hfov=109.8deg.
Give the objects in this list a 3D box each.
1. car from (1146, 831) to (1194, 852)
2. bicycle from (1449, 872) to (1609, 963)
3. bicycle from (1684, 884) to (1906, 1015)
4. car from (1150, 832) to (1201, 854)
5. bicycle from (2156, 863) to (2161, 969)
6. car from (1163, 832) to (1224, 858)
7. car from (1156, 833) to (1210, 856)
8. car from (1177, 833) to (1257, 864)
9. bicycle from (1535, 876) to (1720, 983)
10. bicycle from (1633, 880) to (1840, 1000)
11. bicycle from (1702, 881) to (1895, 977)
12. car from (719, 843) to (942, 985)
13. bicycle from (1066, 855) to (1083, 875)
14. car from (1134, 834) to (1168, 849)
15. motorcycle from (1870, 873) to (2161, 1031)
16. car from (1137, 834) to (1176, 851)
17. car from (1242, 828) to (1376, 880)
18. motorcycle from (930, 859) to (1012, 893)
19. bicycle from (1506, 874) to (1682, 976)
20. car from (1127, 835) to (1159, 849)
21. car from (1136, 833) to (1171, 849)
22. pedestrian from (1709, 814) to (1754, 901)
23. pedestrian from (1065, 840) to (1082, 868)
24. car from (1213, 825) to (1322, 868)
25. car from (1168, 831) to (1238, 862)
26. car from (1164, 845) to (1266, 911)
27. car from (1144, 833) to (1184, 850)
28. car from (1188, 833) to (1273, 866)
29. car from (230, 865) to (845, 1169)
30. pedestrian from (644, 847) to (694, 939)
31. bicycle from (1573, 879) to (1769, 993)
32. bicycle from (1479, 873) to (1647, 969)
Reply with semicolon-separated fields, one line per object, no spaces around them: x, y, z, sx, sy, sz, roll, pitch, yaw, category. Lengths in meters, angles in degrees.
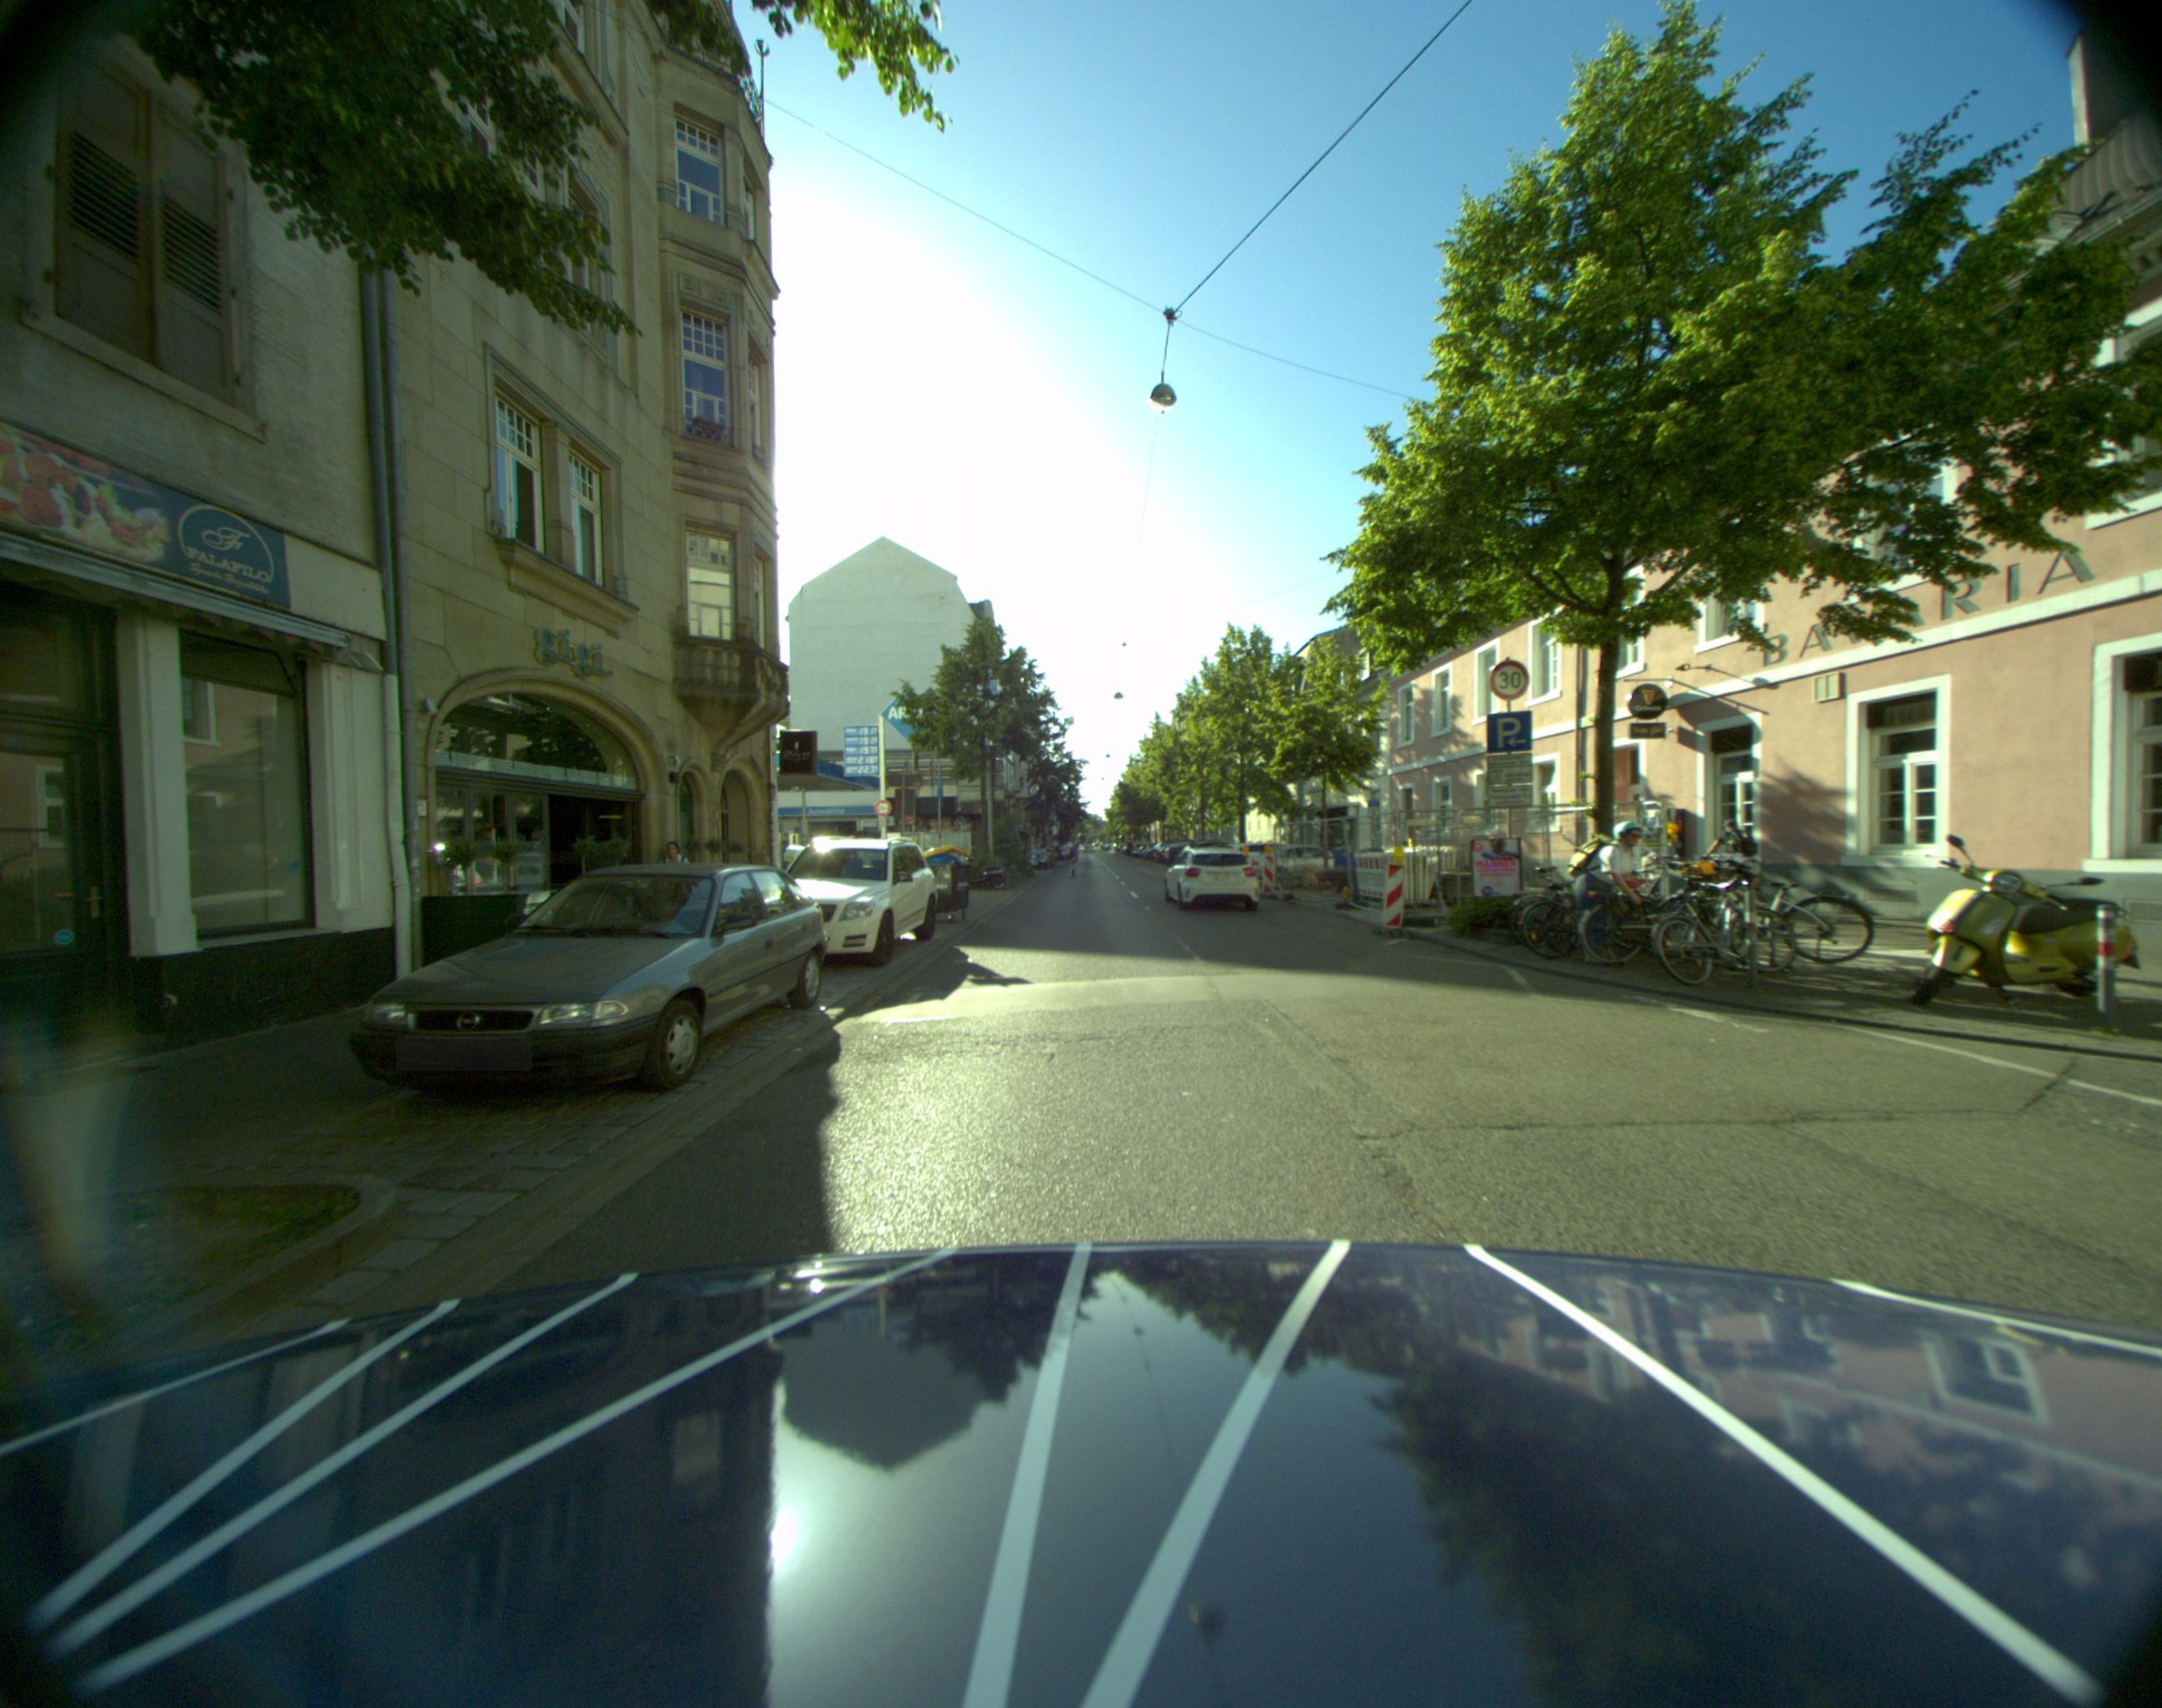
8.187;-1.130;70.087;4.134;1.792;1.911;-2;2;0;car
5.912;0.810;10.027;2.006;1.023;0.473;-3;2;-12;bicycle
6.756;0.868;7.186;2.006;1.023;0.473;-3;2;-12;bicycle
8.227;-0.939;66.354;4.134;1.792;1.911;-2;2;0;car
11.382;0.666;7.001;0.570;1.082;1.651;-1;3;0;bicycle
8.229;-0.673;55.913;4.134;1.792;1.911;-2;2;0;car
8.234;-0.790;61.669;4.134;1.792;1.911;-2;2;0;car
7.670;-0.326;43.020;4.134;1.585;1.911;-2;2;0;car
6.214;0.830;8.645;2.006;1.023;0.473;-3;2;-12;bicycle
6.657;0.839;7.714;2.006;1.023;0.473;-3;2;-12;bicycle
7.831;0.789;8.366;1.513;0.945;0.360;-1;2;41;bicycle
-3.349;0.684;11.083;1.835;1.641;4.158;1;1;1;car
-0.343;0.539;38.488;0.805;0.958;1.996;-2;1;0;bicycle
8.949;-1.644;97.436;4.134;1.792;1.911;-2;2;0;car
7.908;0.775;6.248;2.003;1.178;0.740;-1;1;3;motorcycle
8.599;-1.320;86.631;4.134;1.792;1.911;-2;2;0;car
8.014;-0.029;26.944;4.134;1.671;1.999;-2;2;0;car
-3.730;0.733;25.818;2.656;1.071;0.961;-1;1;-14;motorcycle
6.119;0.819;9.068;2.006;1.023;0.473;-3;2;-12;bicycle
8.387;-1.672;102.671;4.134;1.792;1.911;-2;2;0;car
8.918;-1.598;94.124;4.134;1.792;1.911;-2;2;0;car
13.083;0.070;15.294;0.517;1.717;0.525;0;2;18;pedestrian
-0.362;-0.005;38.425;0.804;1.381;0.931;-2;1;-1;pedestrian
7.865;-0.325;32.370;4.134;1.671;1.999;-2;2;0;car
7.677;-0.486;48.080;4.134;1.792;1.911;-2;2;0;car
3.122;0.501;18.433;1.835;1.410;3.832;1;1;1;car
9.099;-1.379;83.376;4.134;1.792;1.911;-2;2;0;car
7.882;-0.245;40.320;4.134;1.585;1.911;-2;2;0;car
-3.408;0.869;5.957;1.835;1.410;4.158;1;1;0;car
-6.628;0.607;12.248;0.460;1.435;0.521;-2;2;-1;pedestrian
6.327;0.846;8.154;2.006;1.023;0.473;-3;2;-12;bicycle
6.030;0.816;9.509;2.006;1.023;0.473;-3;2;-12;bicycle
